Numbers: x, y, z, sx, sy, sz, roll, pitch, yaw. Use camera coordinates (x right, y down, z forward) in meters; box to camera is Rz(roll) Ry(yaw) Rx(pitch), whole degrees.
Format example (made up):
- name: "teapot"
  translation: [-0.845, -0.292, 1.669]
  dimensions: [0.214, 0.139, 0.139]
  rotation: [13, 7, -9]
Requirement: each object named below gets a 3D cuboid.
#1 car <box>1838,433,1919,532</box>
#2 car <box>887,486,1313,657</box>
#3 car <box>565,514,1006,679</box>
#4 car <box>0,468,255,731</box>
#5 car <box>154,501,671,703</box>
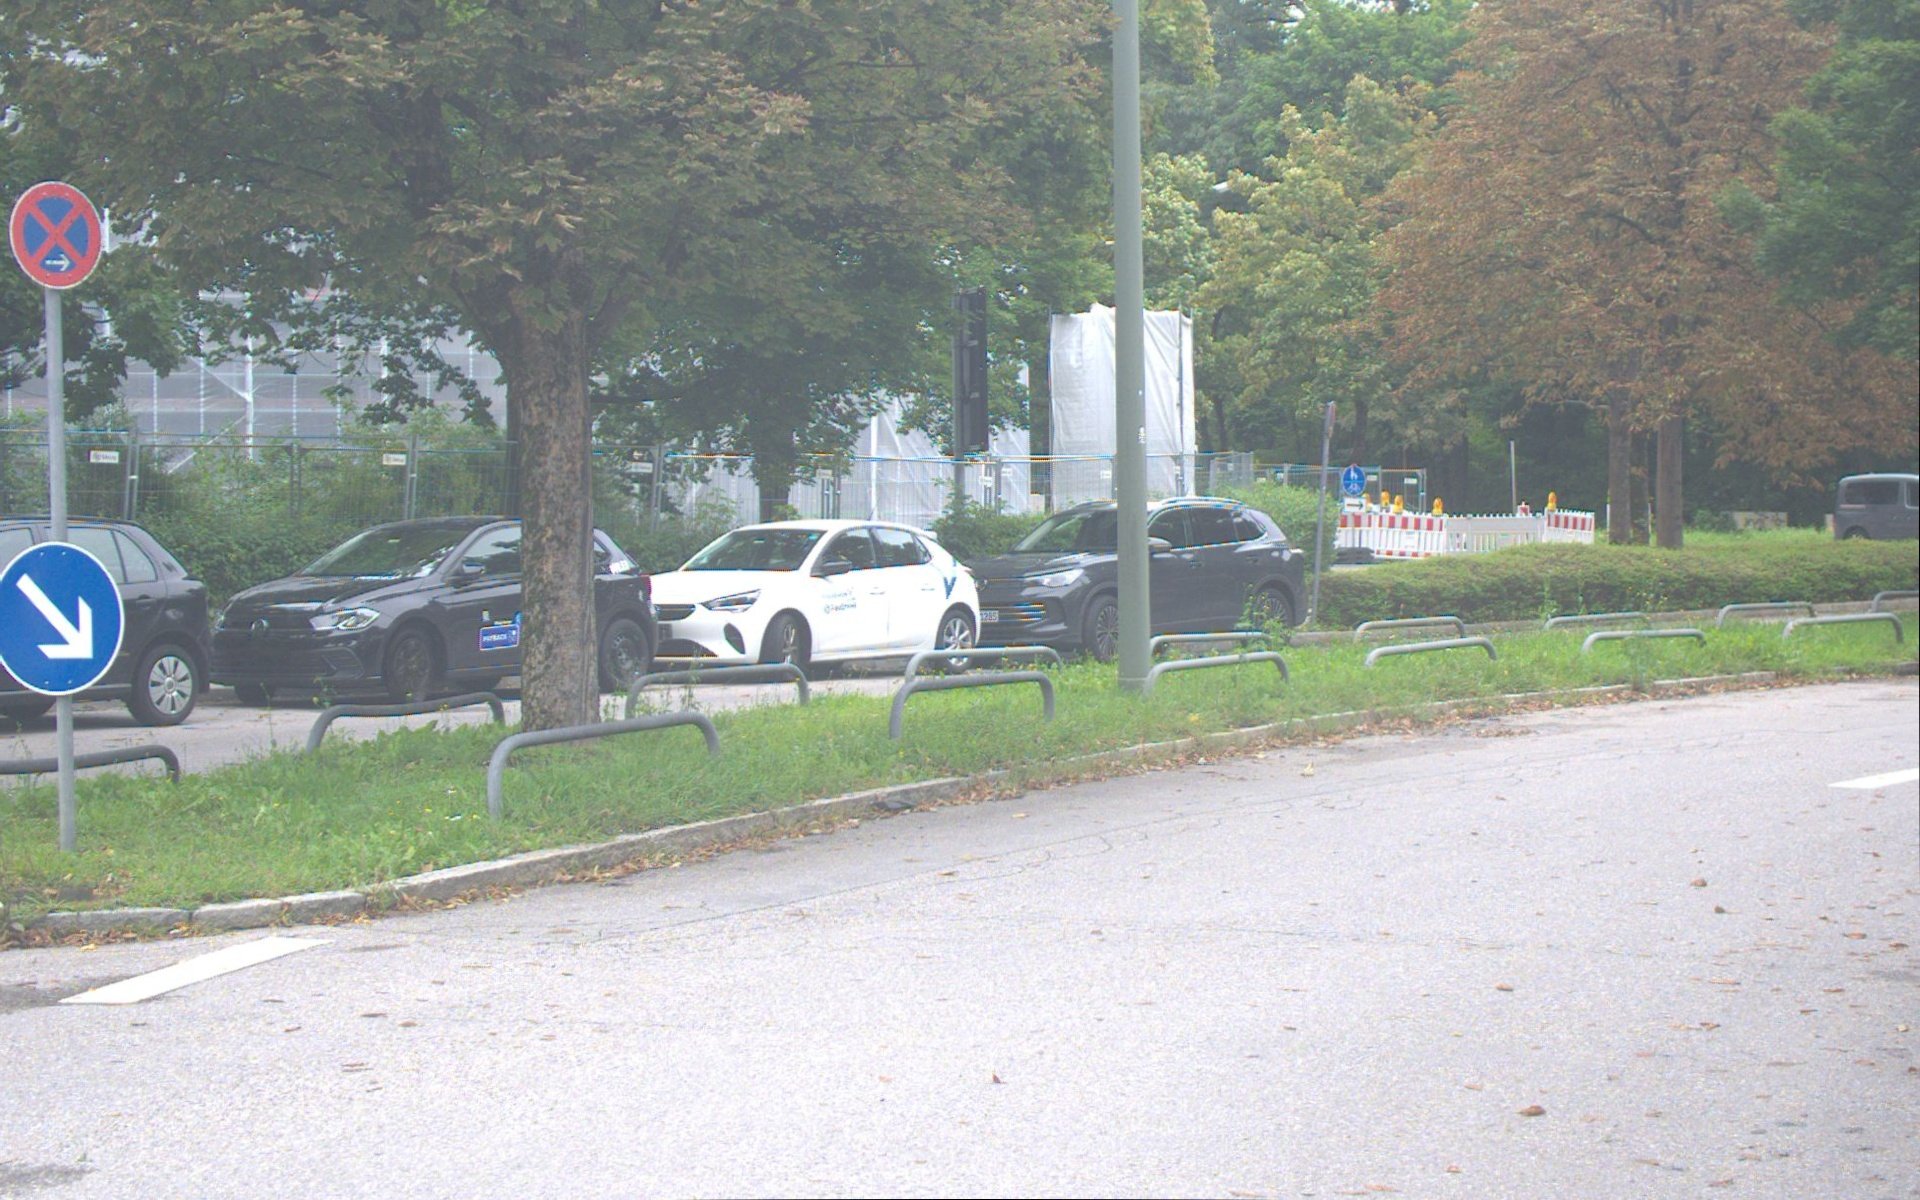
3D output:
- name: "car"
  translation: [20.122, -2.390, 69.915]
  dimensions: [1.994, 2.007, 3.999]
  rotation: [-2, 2, -39]
- name: "car"
  translation: [1.463, -0.259, 34.519]
  dimensions: [1.890, 1.600, 4.385]
  rotation: [0, 0, 42]
- name: "car"
  translation: [-1.498, -0.075, 31.098]
  dimensions: [1.799, 1.379, 4.210]
  rotation: [0, 1, 34]
- name: "car"
  translation: [-6.868, -0.011, 23.014]
  dimensions: [1.997, 1.700, 3.993]
  rotation: [0, 1, 32]
- name: "car"
  translation: [-4.202, -0.030, 26.974]
  dimensions: [1.837, 1.456, 3.999]
  rotation: [0, 1, 32]
